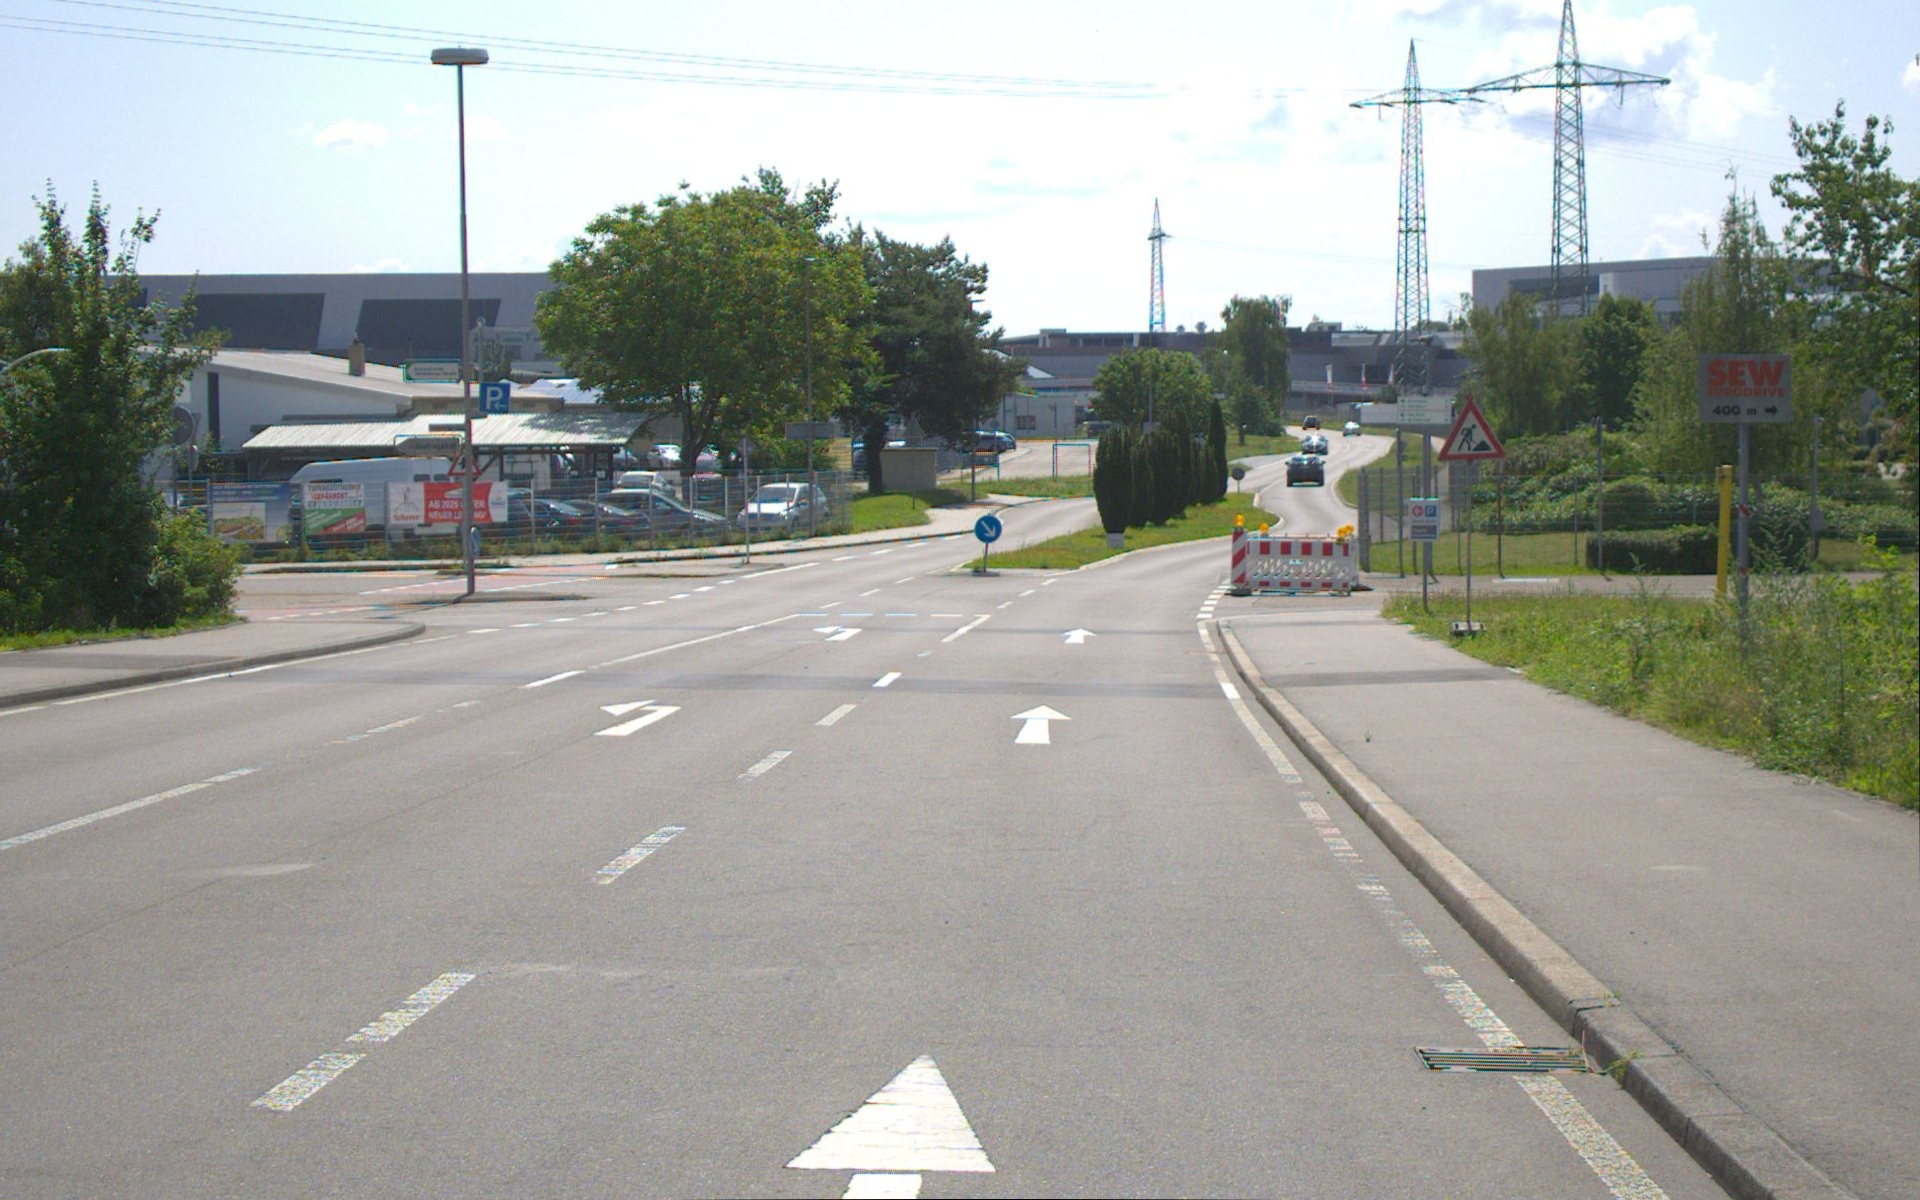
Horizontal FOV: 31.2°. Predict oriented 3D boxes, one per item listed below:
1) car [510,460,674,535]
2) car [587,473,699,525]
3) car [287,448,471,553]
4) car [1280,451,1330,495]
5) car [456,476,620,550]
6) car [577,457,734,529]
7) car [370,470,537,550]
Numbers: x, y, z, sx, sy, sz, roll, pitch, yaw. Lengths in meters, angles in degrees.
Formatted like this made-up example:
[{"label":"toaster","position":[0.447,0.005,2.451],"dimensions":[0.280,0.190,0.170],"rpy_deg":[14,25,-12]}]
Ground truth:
[{"label":"car","position":[-9.934,-2.785,92.850],"dimensions":[3.994,1.897,1.997],"rpy_deg":[3,4,30]},{"label":"car","position":[-11.533,-3.674,125.057],"dimensions":[3.986,1.843,1.835],"rpy_deg":[0,2,-7]},{"label":"car","position":[-14.697,-2.526,86.936],"dimensions":[4.359,2.599,1.996],"rpy_deg":[1,2,32]},{"label":"car","position":[17.001,-6.269,169.535],"dimensions":[2.272,1.939,4.665],"rpy_deg":[3,4,5]},{"label":"car","position":[-11.154,-2.326,90.835],"dimensions":[3.995,1.774,1.996],"rpy_deg":[3,4,35]},{"label":"car","position":[-8.653,-3.063,97.739],"dimensions":[3.992,1.897,1.998],"rpy_deg":[2,4,25]},{"label":"car","position":[-13.089,-2.352,88.845],"dimensions":[3.995,1.897,1.996],"rpy_deg":[3,4,35]}]
